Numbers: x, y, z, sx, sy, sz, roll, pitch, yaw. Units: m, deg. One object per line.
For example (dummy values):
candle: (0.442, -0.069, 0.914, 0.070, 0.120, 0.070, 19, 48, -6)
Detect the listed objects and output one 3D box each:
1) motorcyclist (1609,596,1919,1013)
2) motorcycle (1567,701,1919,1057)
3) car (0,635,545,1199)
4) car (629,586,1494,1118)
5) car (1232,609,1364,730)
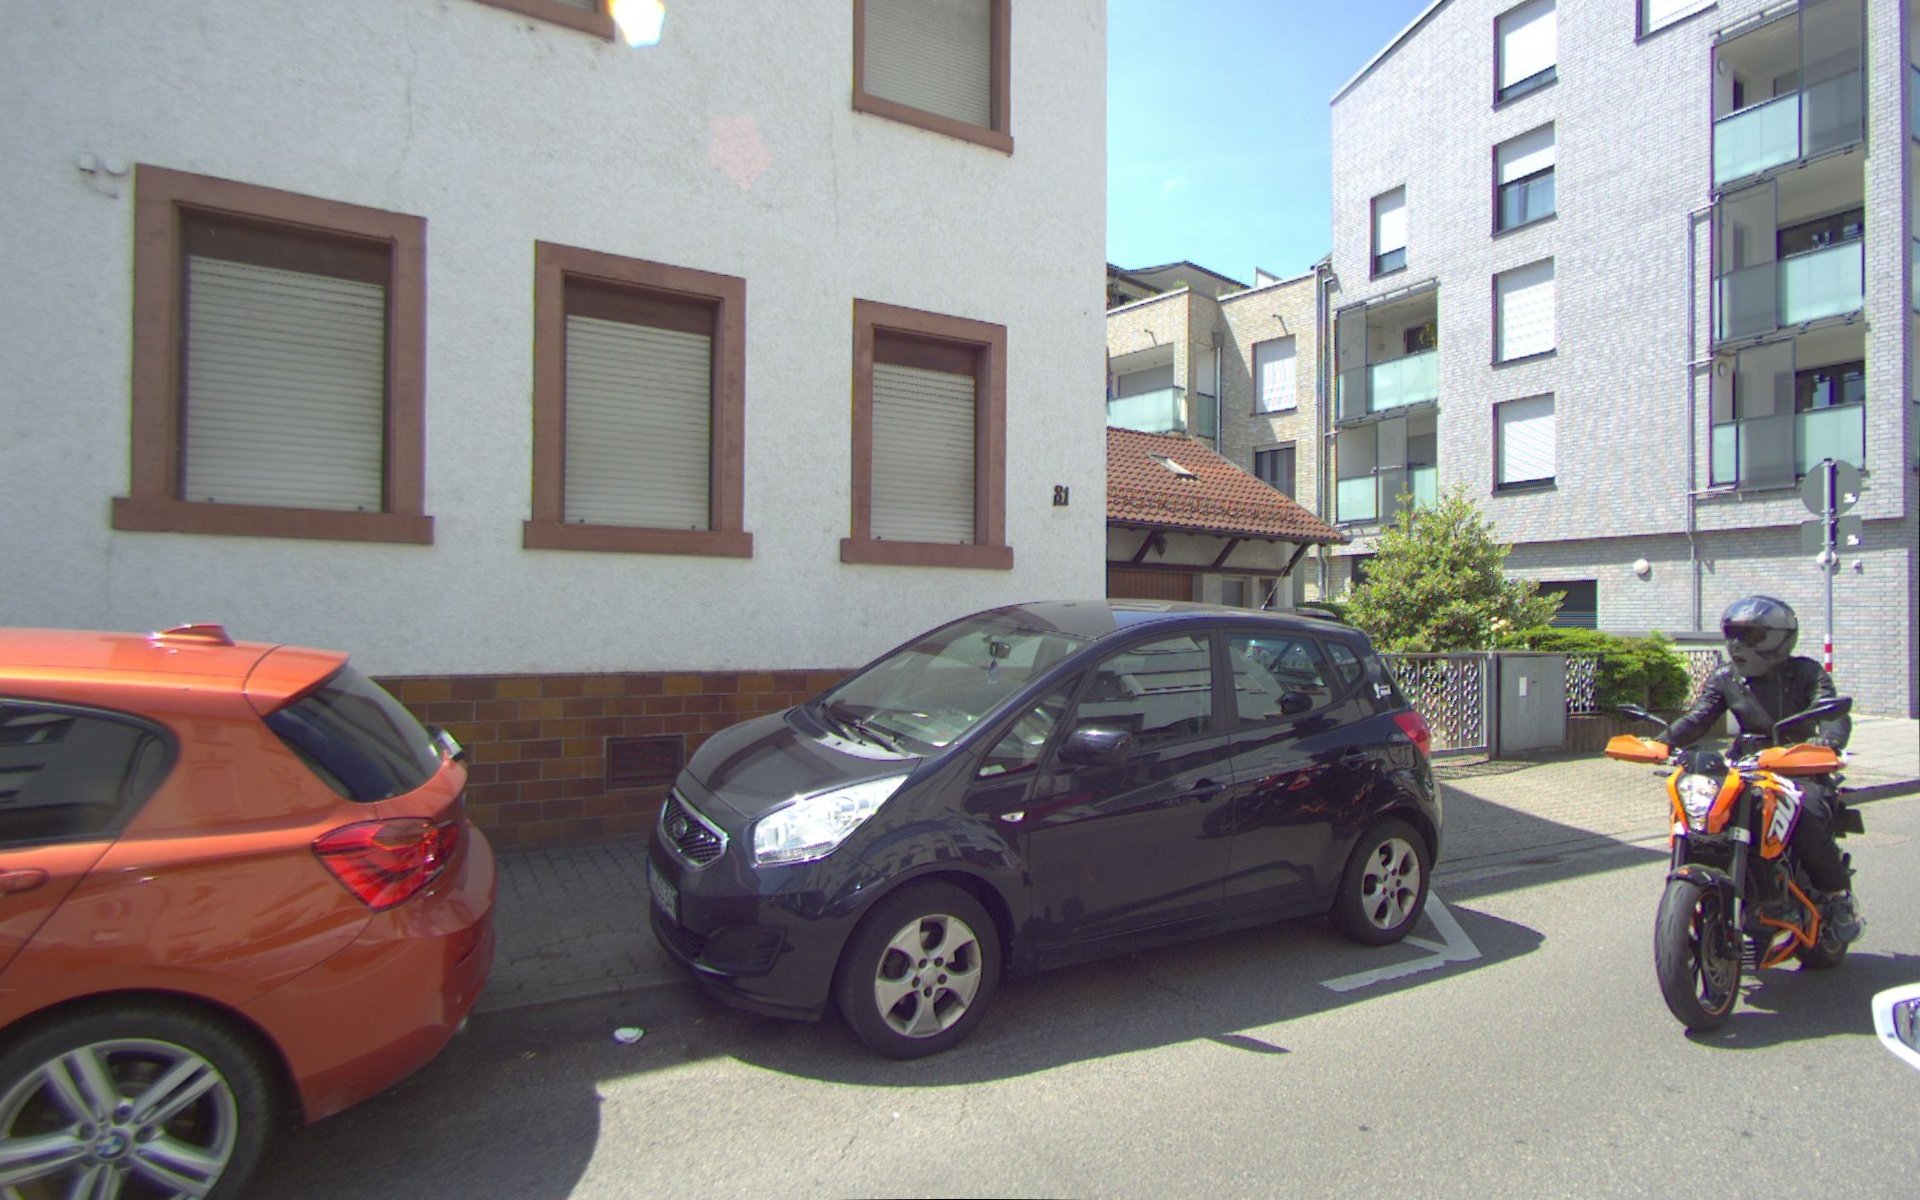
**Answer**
motorcyclist: (3.506, 0.769, 4.314, 1.044, 1.529, 0.819, 1, -2, -29)
motorcycle: (3.538, 1.061, 4.334, 2.003, 1.137, 0.685, 1, -2, -30)
car: (-3.423, 0.818, 2.538, 4.236, 1.435, 1.826, 1, -1, -28)
car: (0.580, 0.830, 4.910, 3.898, 1.668, 1.786, 1, 0, -30)
car: (5.050, 0.946, 15.376, 1.605, 1.560, 3.565, 1, 0, 14)
